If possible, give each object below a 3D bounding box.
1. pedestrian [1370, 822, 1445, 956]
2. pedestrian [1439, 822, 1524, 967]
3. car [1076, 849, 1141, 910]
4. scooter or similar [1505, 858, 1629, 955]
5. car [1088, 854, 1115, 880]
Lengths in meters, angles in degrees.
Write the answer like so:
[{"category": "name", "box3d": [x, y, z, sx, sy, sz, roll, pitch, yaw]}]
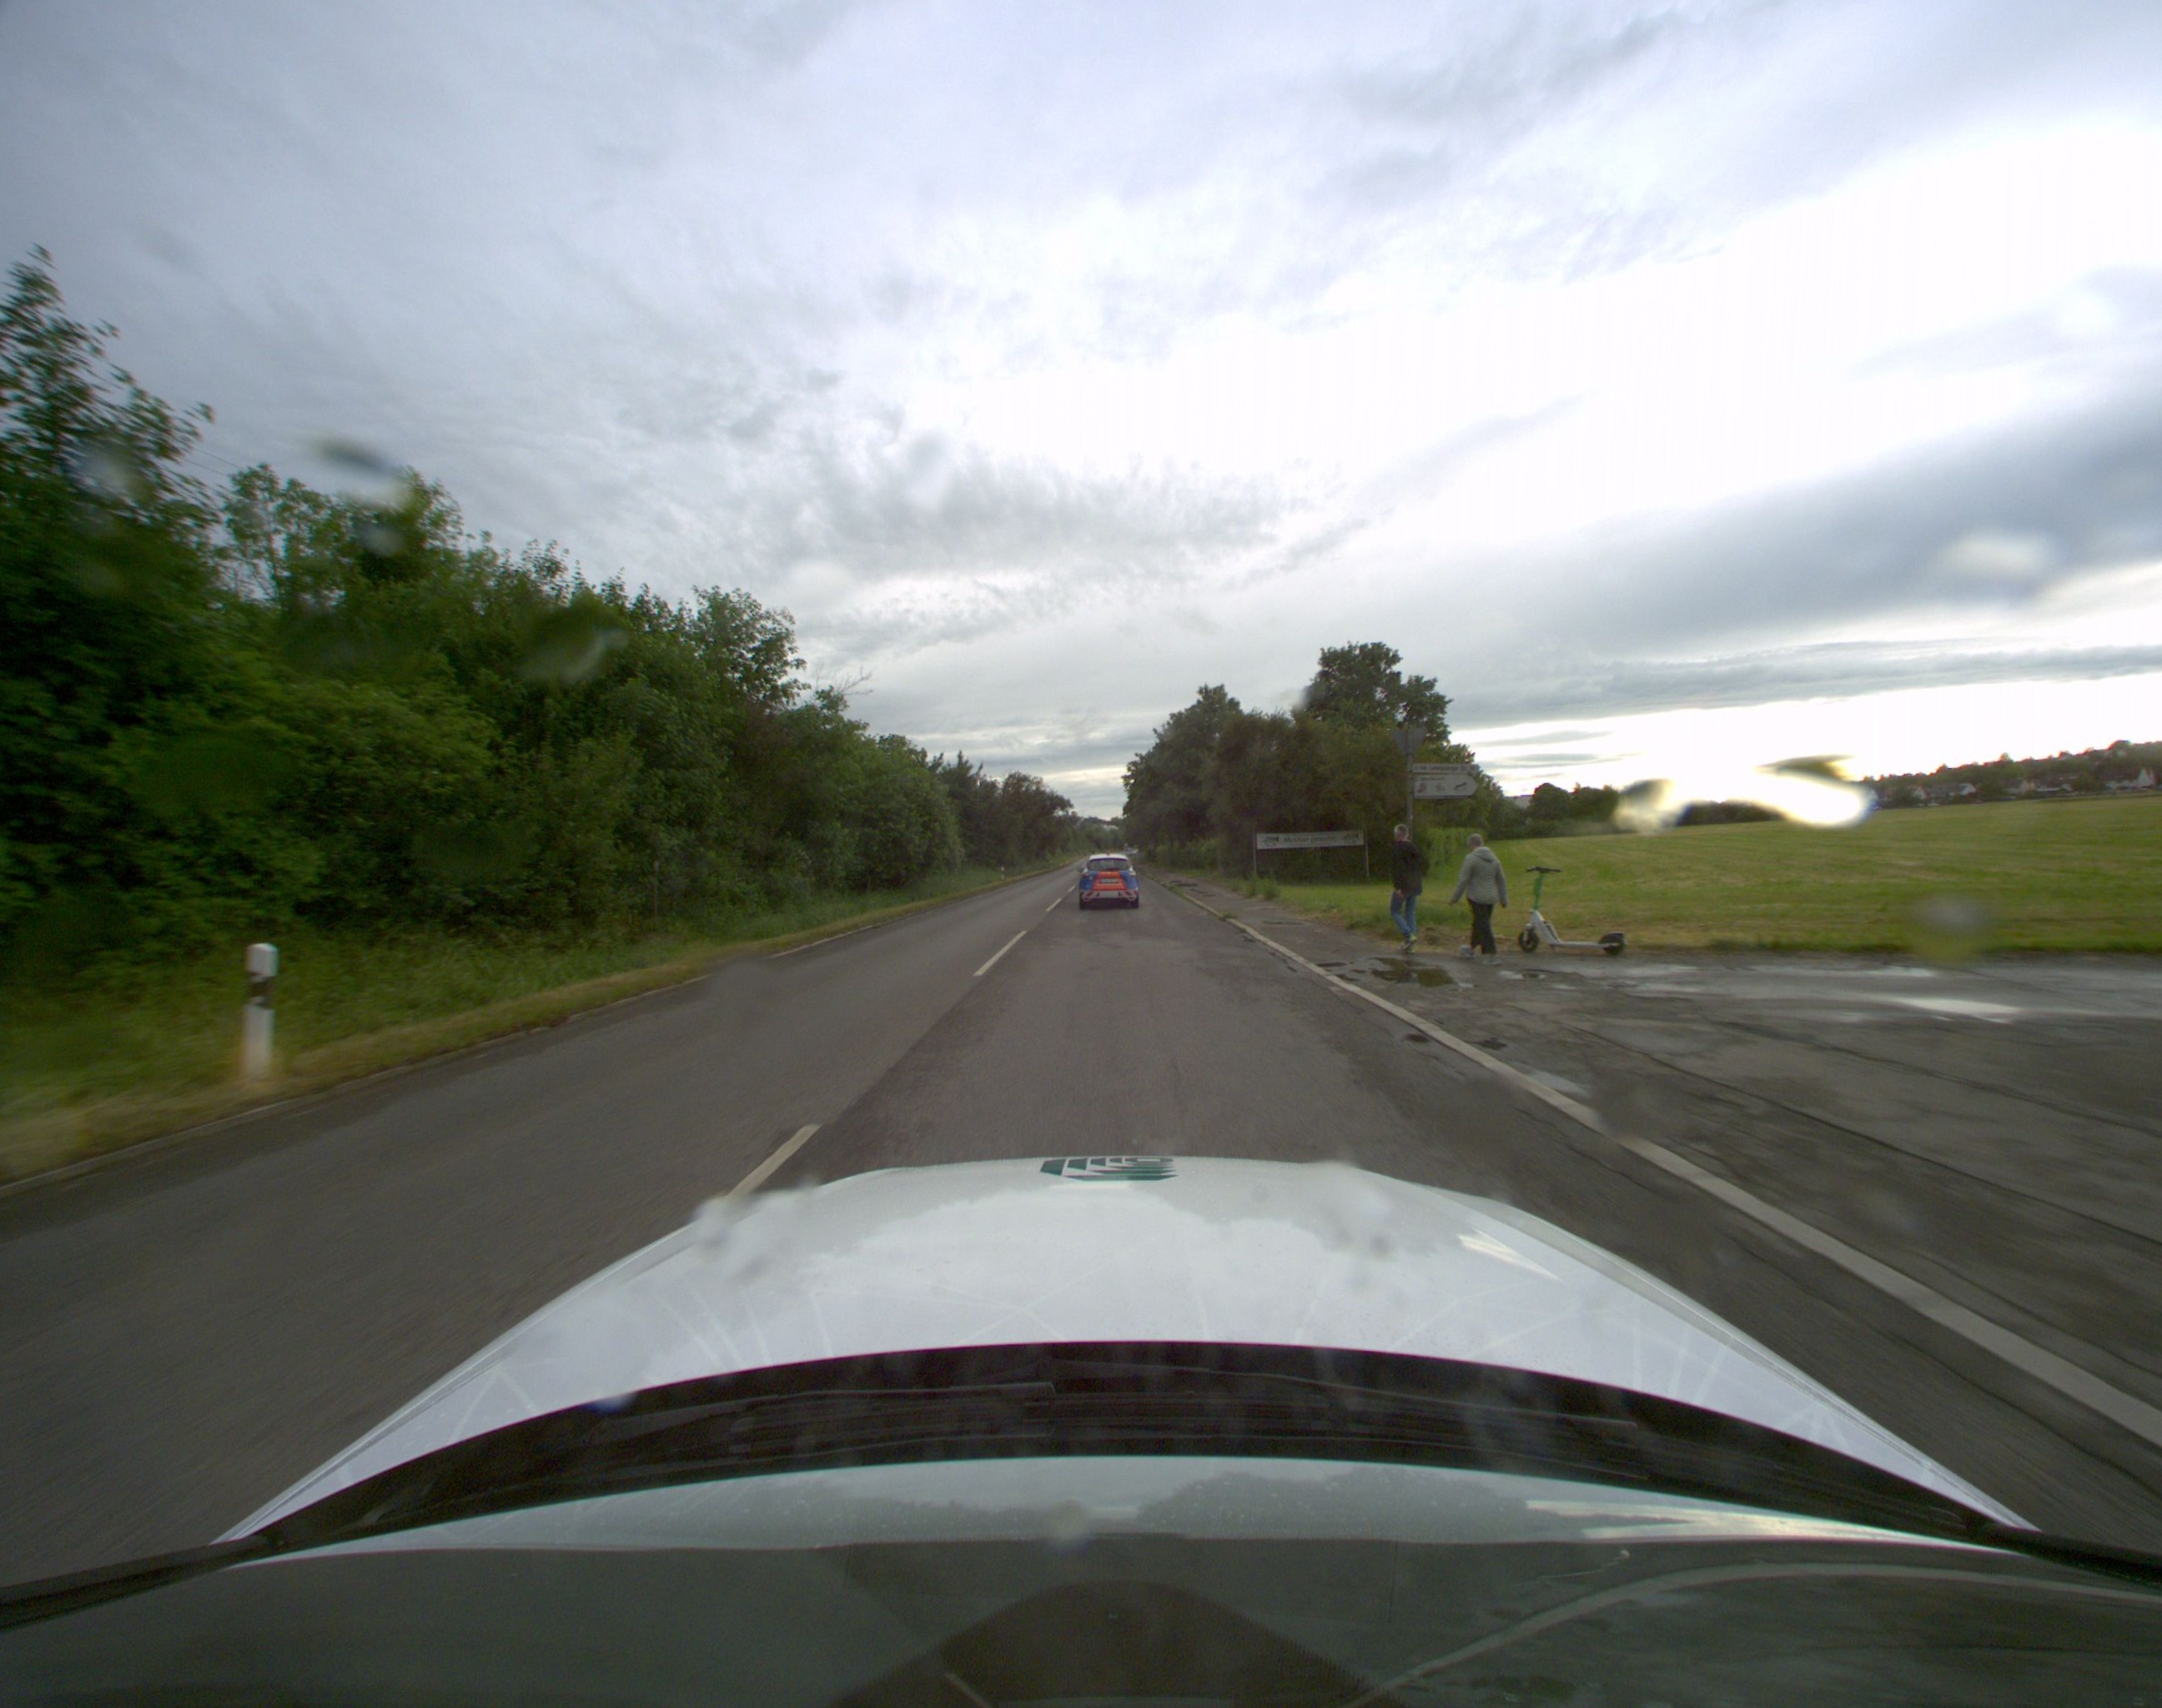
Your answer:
[{"category": "pedestrian", "box3d": [4.670, 0.488, 11.703, 0.690, 1.827, 0.801, -3, -1, 2]}, {"category": "pedestrian", "box3d": [5.191, 0.509, 10.589, 0.658, 1.778, 0.760, -3, -1, 2]}, {"category": "car", "box3d": [0.818, 0.719, 24.519, 1.799, 1.668, 3.857, 0, 0, 2]}, {"category": "scooter or similar", "box3d": [6.367, 0.677, 10.712, 1.311, 1.206, 0.376, -3, -1, 42]}, {"category": "car", "box3d": [1.339, 0.827, 52.072, 1.687, 1.595, 3.858, 0, 0, 2]}]
